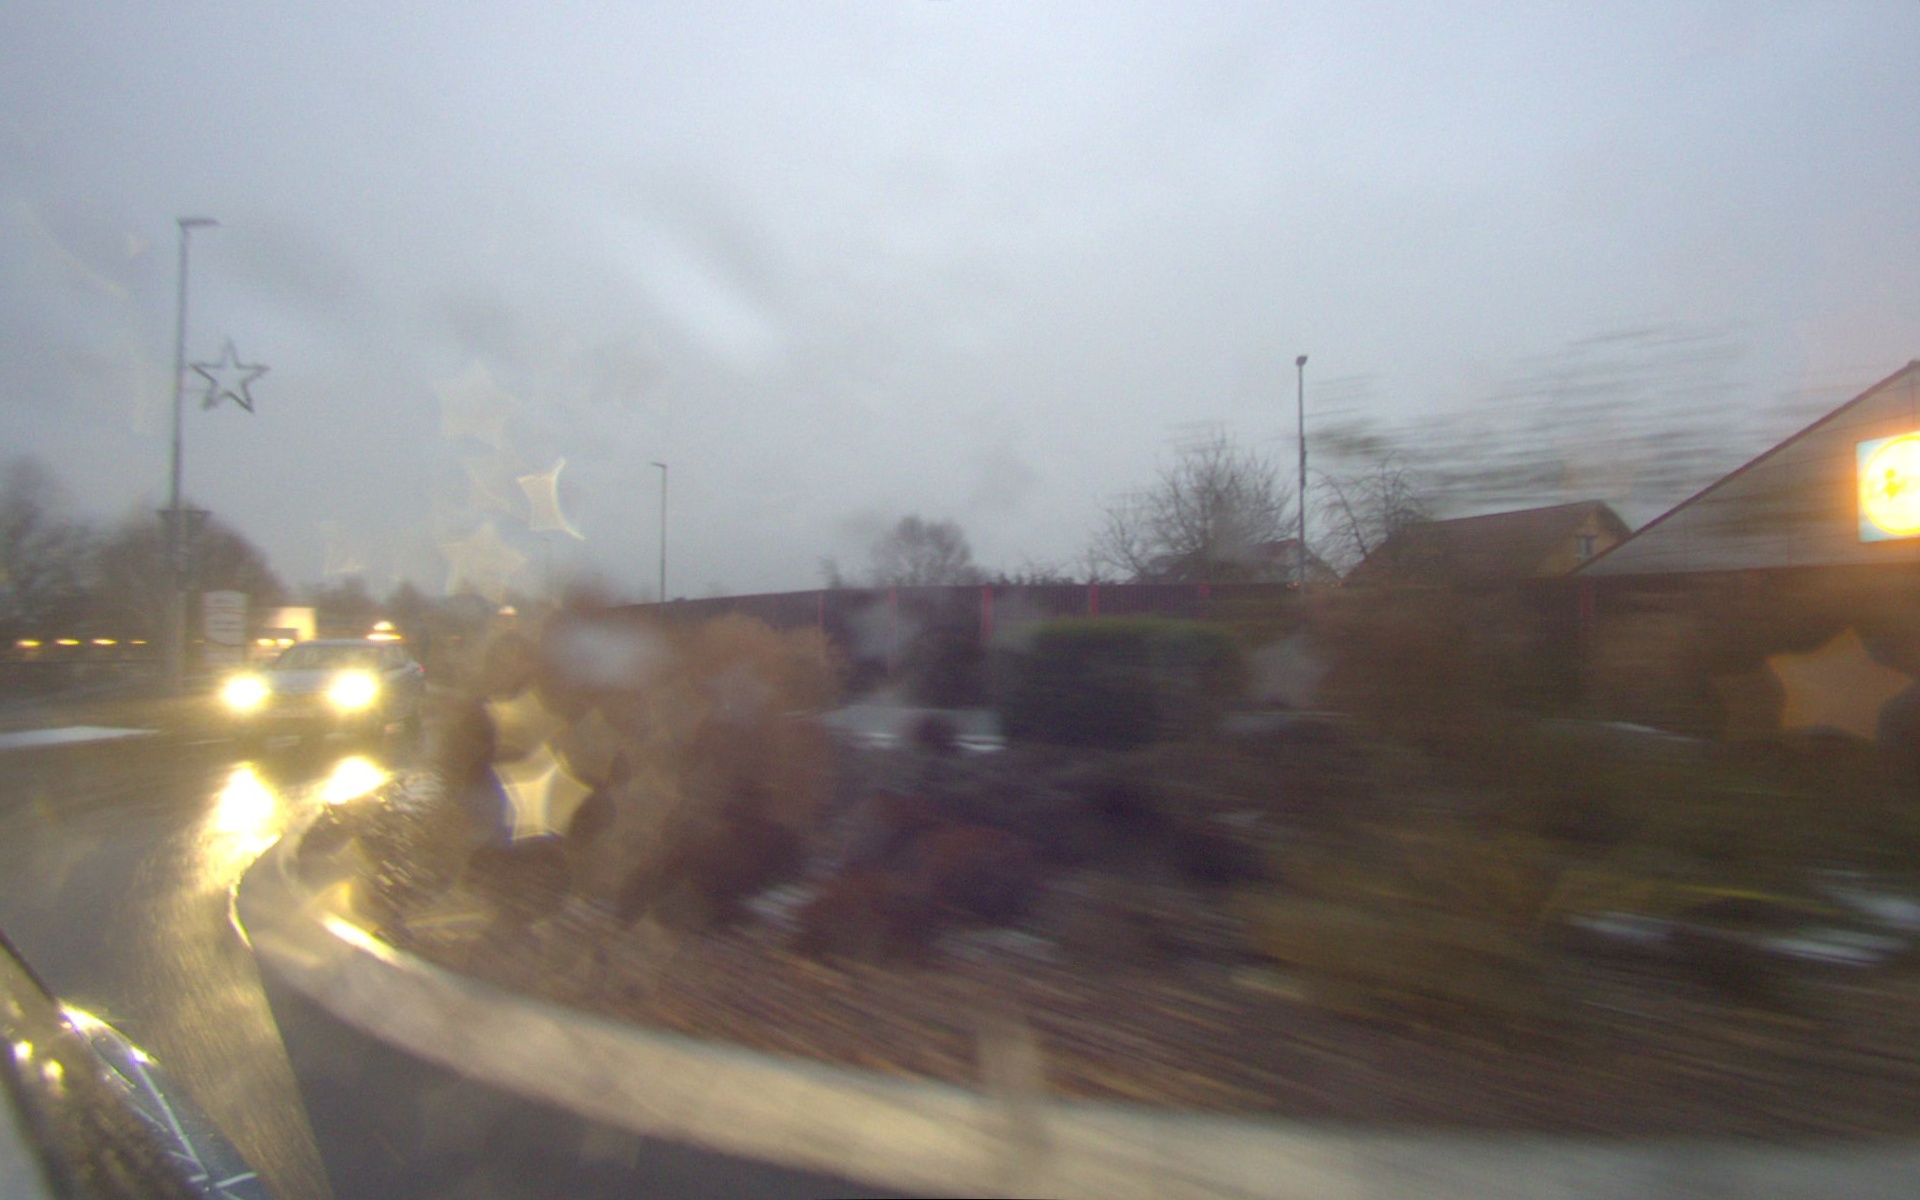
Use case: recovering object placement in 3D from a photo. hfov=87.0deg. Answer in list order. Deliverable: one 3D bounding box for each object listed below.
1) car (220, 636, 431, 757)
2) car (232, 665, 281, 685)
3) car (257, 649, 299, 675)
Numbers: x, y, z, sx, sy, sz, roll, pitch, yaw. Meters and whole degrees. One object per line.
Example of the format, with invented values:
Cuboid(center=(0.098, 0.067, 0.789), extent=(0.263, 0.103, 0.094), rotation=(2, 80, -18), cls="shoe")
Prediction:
Cuboid(center=(-9.657, 1.361, 15.784), extent=(1.780, 1.472, 4.259), rotation=(0, 0, -18), cls="car")
Cuboid(center=(-56.029, 5.968, 80.641), extent=(1.744, 1.440, 3.820), rotation=(2, -3, -11), cls="car")
Cuboid(center=(-69.145, 6.297, 102.594), extent=(5.239, 2.458, 2.249), rotation=(-1, -4, 42), cls="car")
